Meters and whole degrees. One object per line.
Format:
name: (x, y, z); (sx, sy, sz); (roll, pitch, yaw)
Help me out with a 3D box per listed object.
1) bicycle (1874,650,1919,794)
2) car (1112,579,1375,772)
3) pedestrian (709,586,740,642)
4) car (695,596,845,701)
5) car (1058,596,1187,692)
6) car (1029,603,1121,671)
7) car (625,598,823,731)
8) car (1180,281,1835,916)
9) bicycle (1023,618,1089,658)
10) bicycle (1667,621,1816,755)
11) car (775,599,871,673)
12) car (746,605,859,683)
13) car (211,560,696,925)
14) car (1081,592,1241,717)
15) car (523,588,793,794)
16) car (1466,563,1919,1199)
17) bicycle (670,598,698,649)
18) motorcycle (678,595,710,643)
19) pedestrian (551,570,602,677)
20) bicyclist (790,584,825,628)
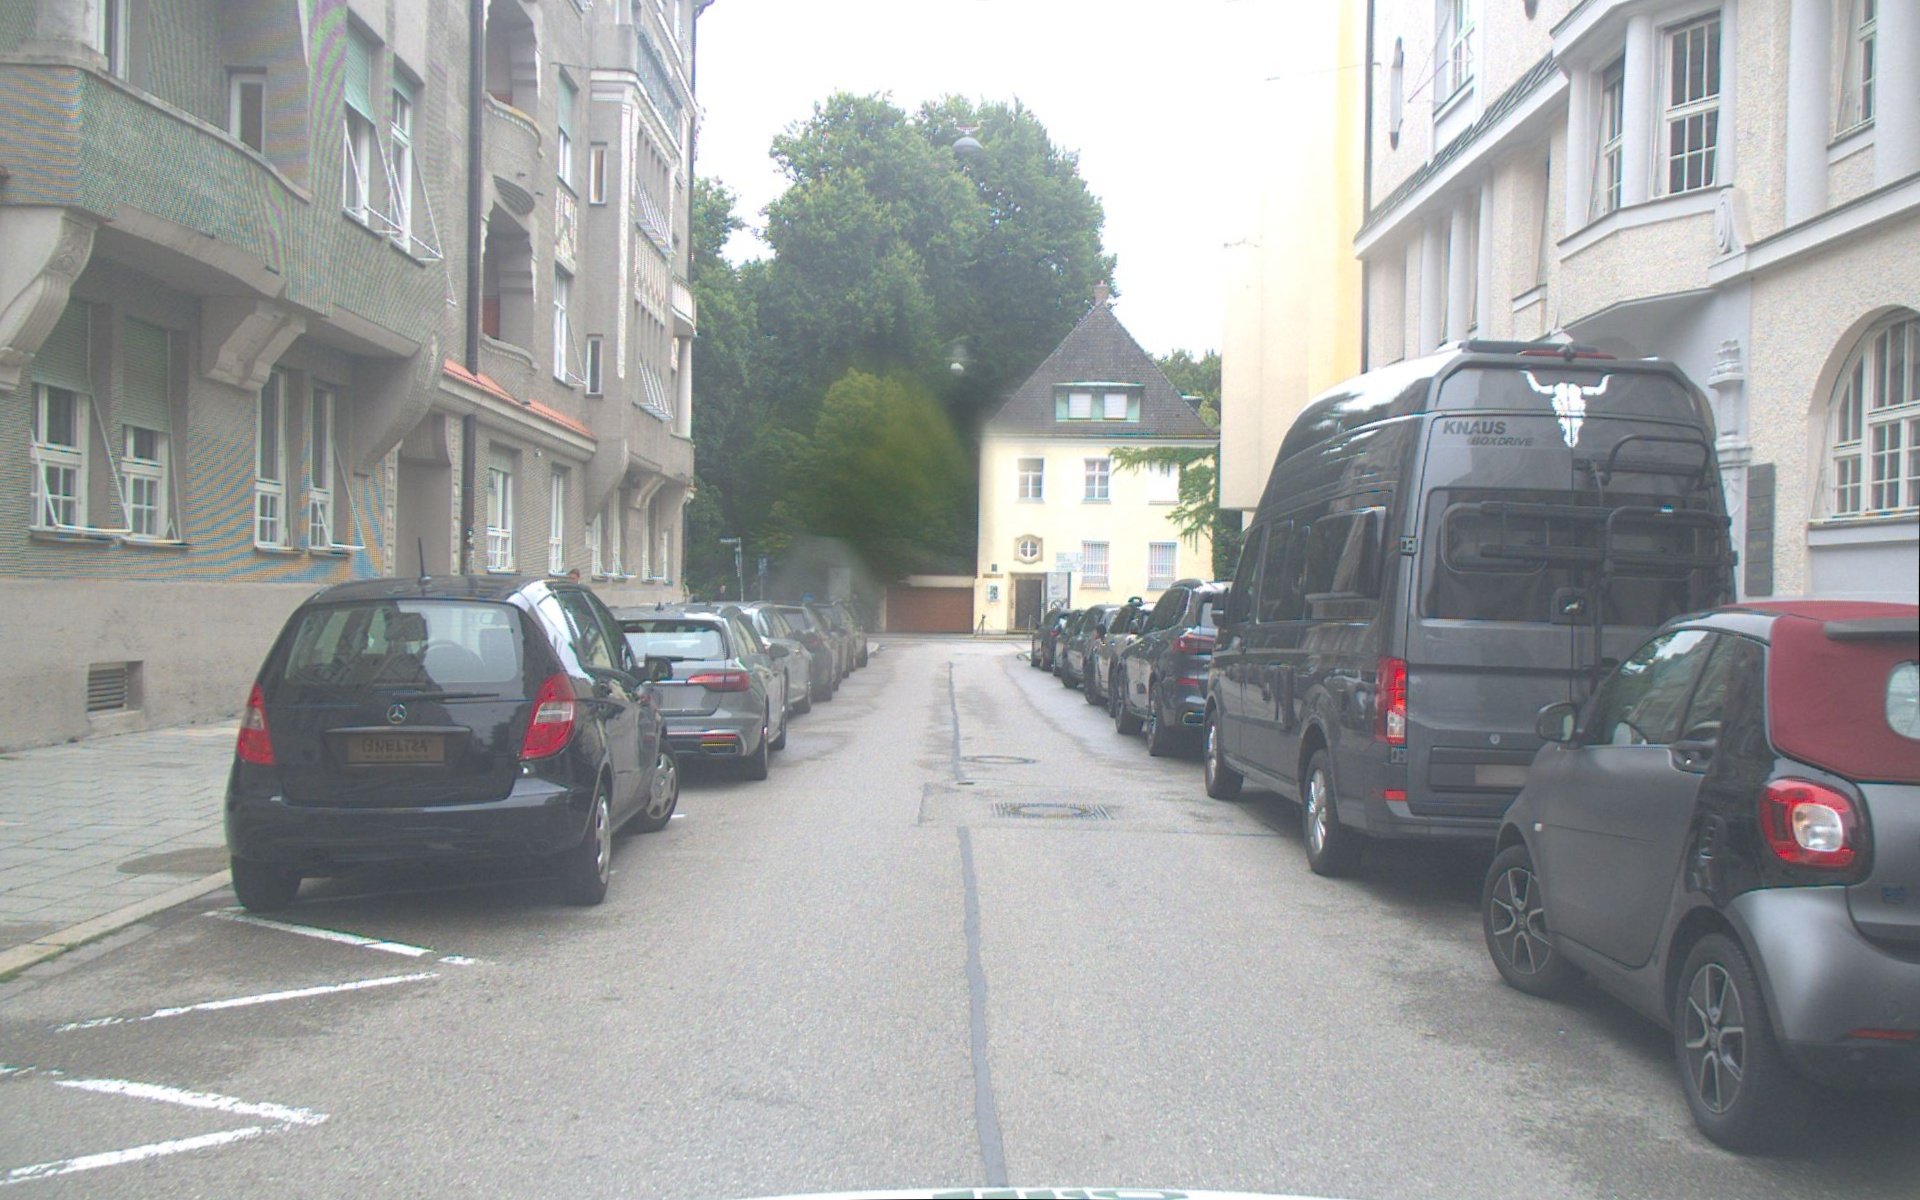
bicycle: (7.577, 0.946, 12.447); (0.380, 1.088, 1.788); (-1, 0, 0)
car: (2.842, 0.693, 17.644); (1.953, 1.718, 4.674); (2, 0, 0)
pedestrian: (-7.869, 0.465, 55.288); (0.821, 1.818, 0.936); (1, 0, 2)
car: (-2.878, 0.697, 25.994); (1.953, 1.474, 4.777); (1, 0, -2)
car: (2.808, 0.730, 29.298); (1.602, 1.563, 3.851); (1, 0, -5)
car: (2.703, 0.838, 39.781); (1.659, 1.497, 4.608); (1, 0, -3)
car: (-2.804, 0.712, 20.583); (1.768, 1.456, 4.439); (-1, 0, 1)
car: (3.091, 0.041, 11.127); (2.209, 3.011, 6.130); (2, -1, -1)
bicycle: (2.726, 1.065, 46.921); (1.756, 1.104, 0.665); (0, 1, 27)
bicycle: (7.442, 0.808, 15.830); (0.472, 1.170, 1.787); (-2, 0, -3)
car: (-3.015, 0.754, 37.132); (1.719, 1.541, 4.707); (1, 0, 0)
car: (-2.909, 0.787, 31.338); (1.719, 1.354, 4.096); (1, 0, 0)
car: (-2.548, 0.643, 9.274); (1.767, 1.599, 3.810); (1, 0, -4)
car: (2.804, 0.722, 23.845); (1.601, 1.620, 3.966); (1, 0, -3)
car: (-2.529, 0.694, 14.903); (1.800, 1.540, 4.605); (1, 0, -3)
car: (2.914, 0.750, 5.725); (1.510, 1.654, 2.815); (1, 0, 2)
bicycle: (-7.735, 0.646, 46.397); (0.606, 1.373, 1.673); (1, 0, -5)
motorcycle: (-8.464, 0.600, 52.759); (0.721, 1.466, 2.146); (1, 0, -2)
pedestrian: (-6.724, 0.407, 29.049); (0.702, 1.849, 0.730); (1, 0, -2)
bicyclist: (-6.048, 0.241, 65.637); (1.100, 1.680, 0.988); (1, 0, 14)
